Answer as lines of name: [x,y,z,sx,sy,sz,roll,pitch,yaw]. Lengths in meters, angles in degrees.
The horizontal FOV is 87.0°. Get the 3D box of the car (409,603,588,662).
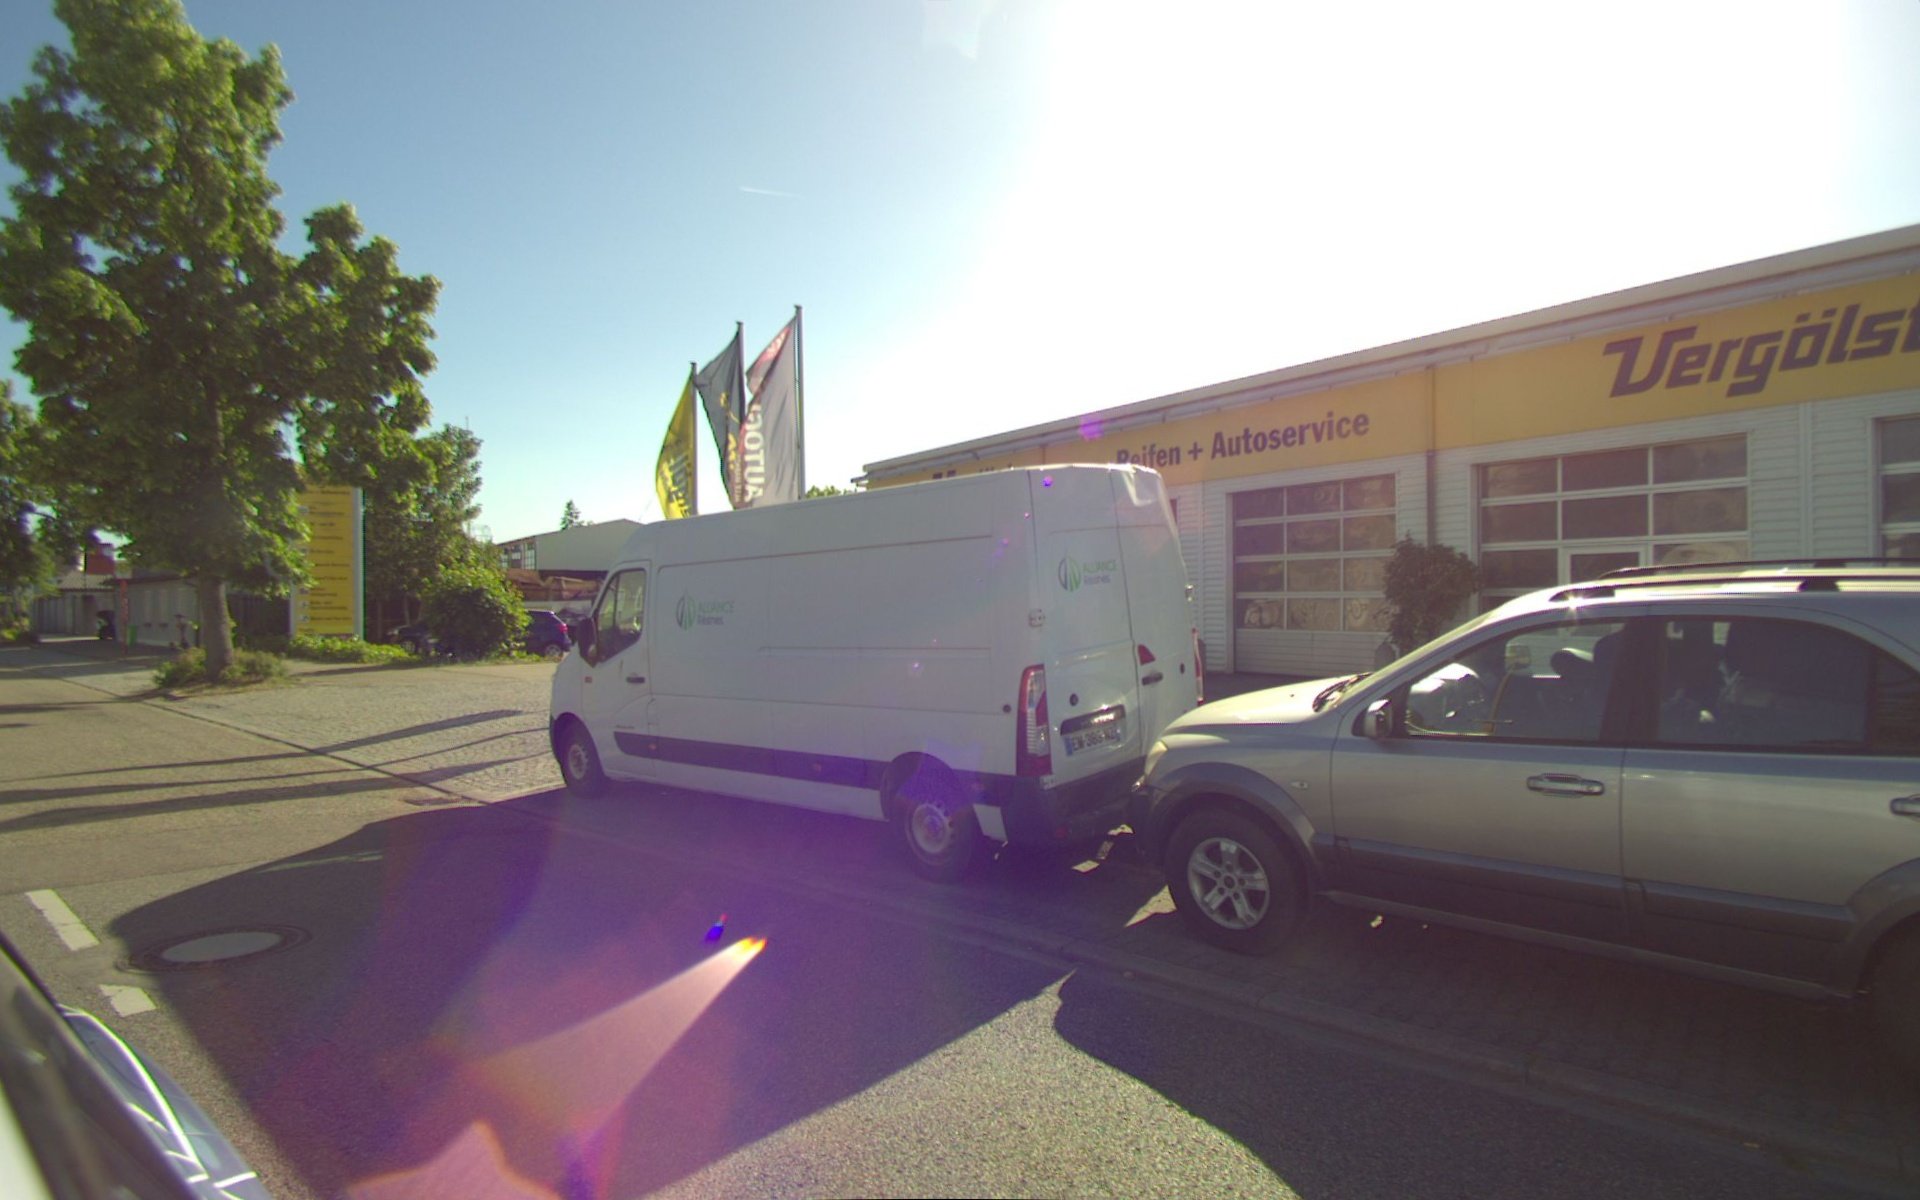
car: [-12.960,0.856,28.488,4.287,1.519,2.005,0,0,-35]

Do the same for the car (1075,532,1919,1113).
car: [2.954,0.647,4.404,4.576,1.750,1.972,-1,3,44]

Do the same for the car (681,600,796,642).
car: [-9.261,0.834,42.356,4.262,1.668,2.004,0,0,-37]

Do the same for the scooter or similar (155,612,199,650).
scooter or similar: [-26.831,1.041,34.675,1.568,1.280,0.479,-1,0,24]

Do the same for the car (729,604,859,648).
car: [-6.183,0.916,37.840,4.386,1.519,2.004,0,0,-37]

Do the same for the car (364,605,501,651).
car: [-18.721,0.955,36.025,4.011,1.527,1.775,0,0,-44]

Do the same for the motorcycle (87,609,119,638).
motorcycle: [-39.269,1.063,46.365,2.537,1.242,0.692,-1,2,41]

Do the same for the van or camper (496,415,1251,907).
van or camper: [-1.166,0.299,8.132,6.399,2.568,2.050,-1,3,41]
